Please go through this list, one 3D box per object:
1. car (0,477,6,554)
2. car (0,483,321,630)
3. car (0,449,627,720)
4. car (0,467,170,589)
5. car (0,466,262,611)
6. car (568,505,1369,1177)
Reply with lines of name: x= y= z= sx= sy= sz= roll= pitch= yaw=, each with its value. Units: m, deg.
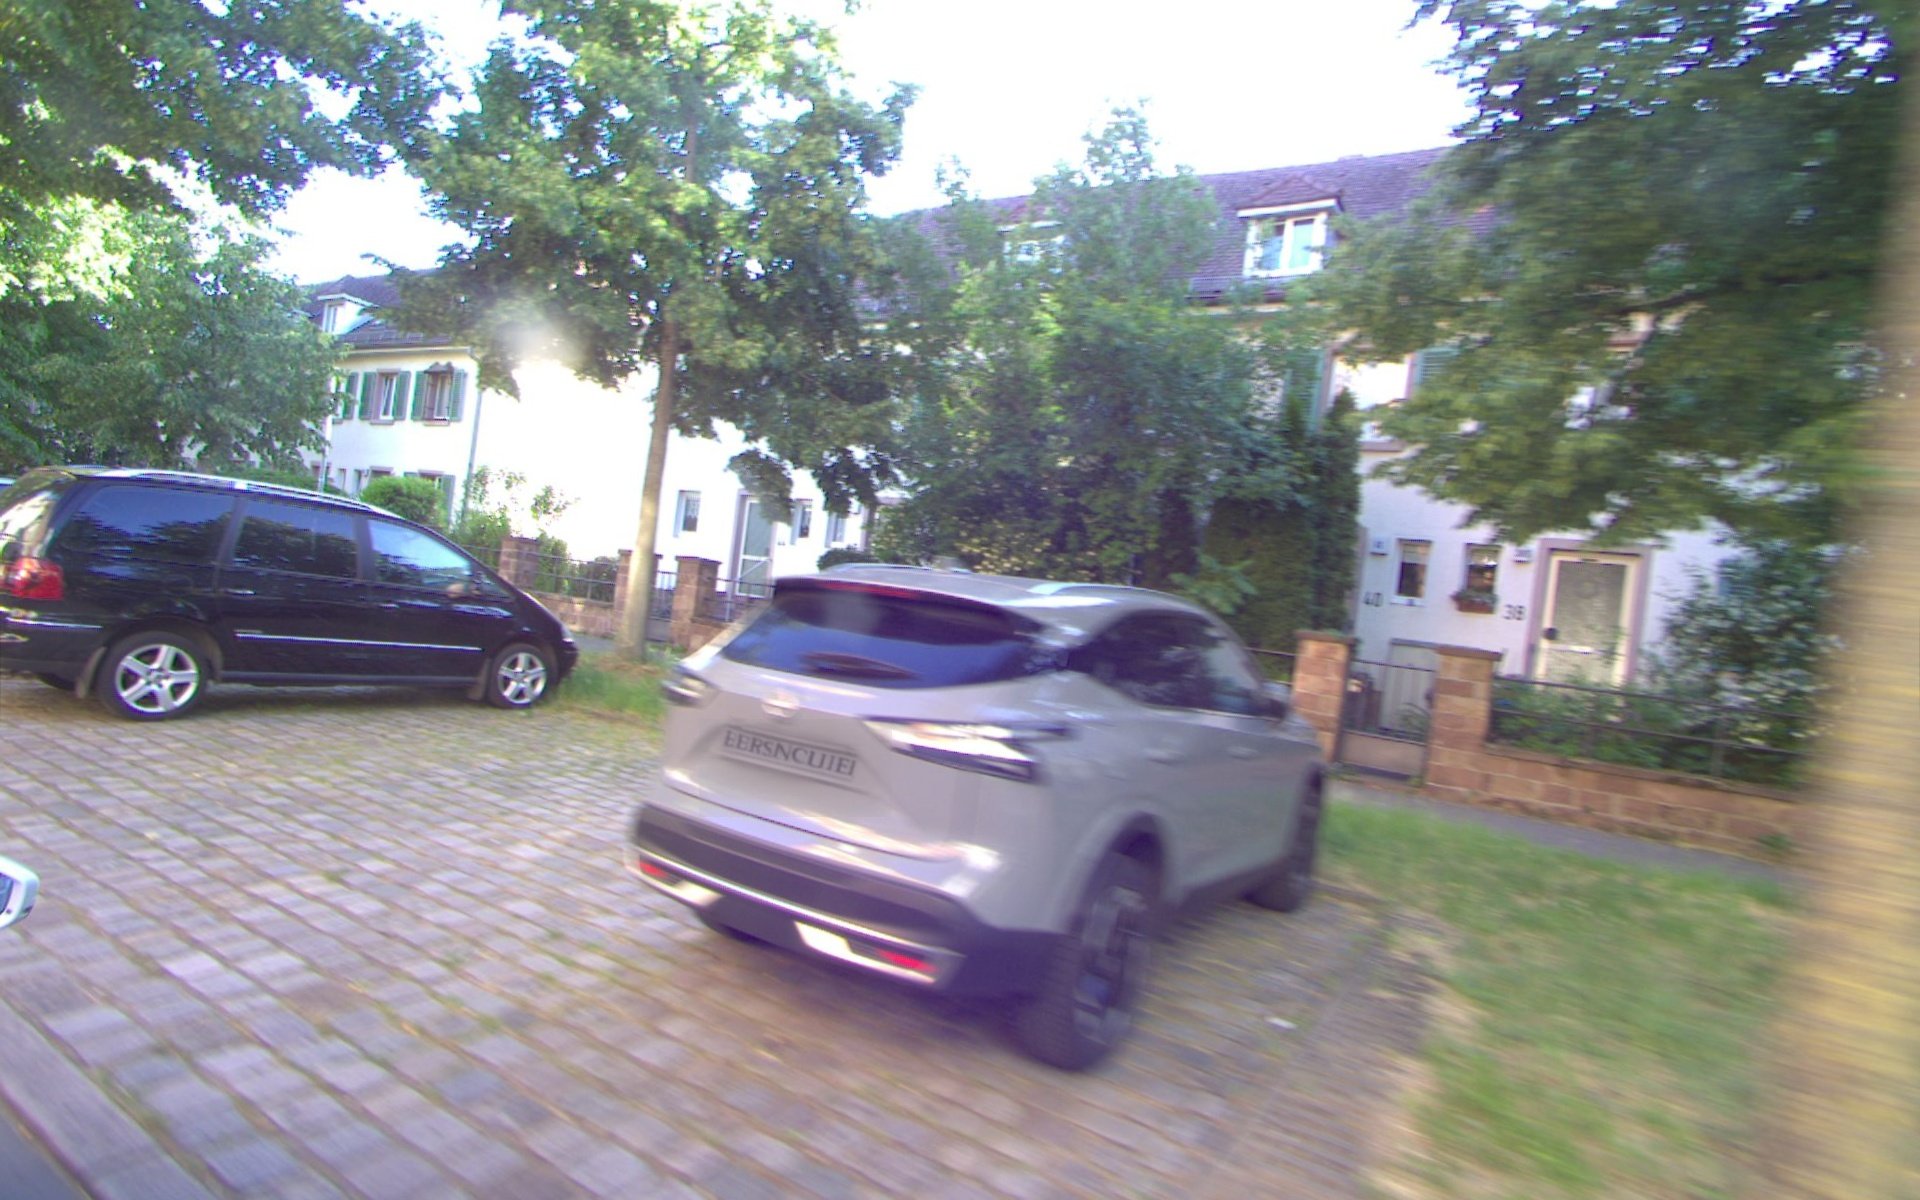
car: x=-20.421 y=-1.797 z=18.357 sx=1.666 sy=1.496 sz=4.067 roll=8 pitch=3 yaw=32
car: x=-9.806 y=-0.478 z=11.629 sx=1.562 sy=1.473 sz=3.722 roll=7 pitch=2 yaw=31
car: x=-5.441 y=-0.115 z=8.724 sx=1.876 sy=1.700 sz=4.580 roll=7 pitch=2 yaw=33
car: x=-14.283 y=-1.123 z=14.224 sx=1.780 sy=1.655 sz=4.544 roll=7 pitch=2 yaw=26
car: x=-11.698 y=-0.818 z=12.793 sx=1.663 sy=1.655 sz=4.269 roll=7 pitch=3 yaw=35
car: x=0.601 y=0.643 z=4.985 sx=1.844 sy=1.655 sz=4.477 roll=7 pitch=2 yaw=31
